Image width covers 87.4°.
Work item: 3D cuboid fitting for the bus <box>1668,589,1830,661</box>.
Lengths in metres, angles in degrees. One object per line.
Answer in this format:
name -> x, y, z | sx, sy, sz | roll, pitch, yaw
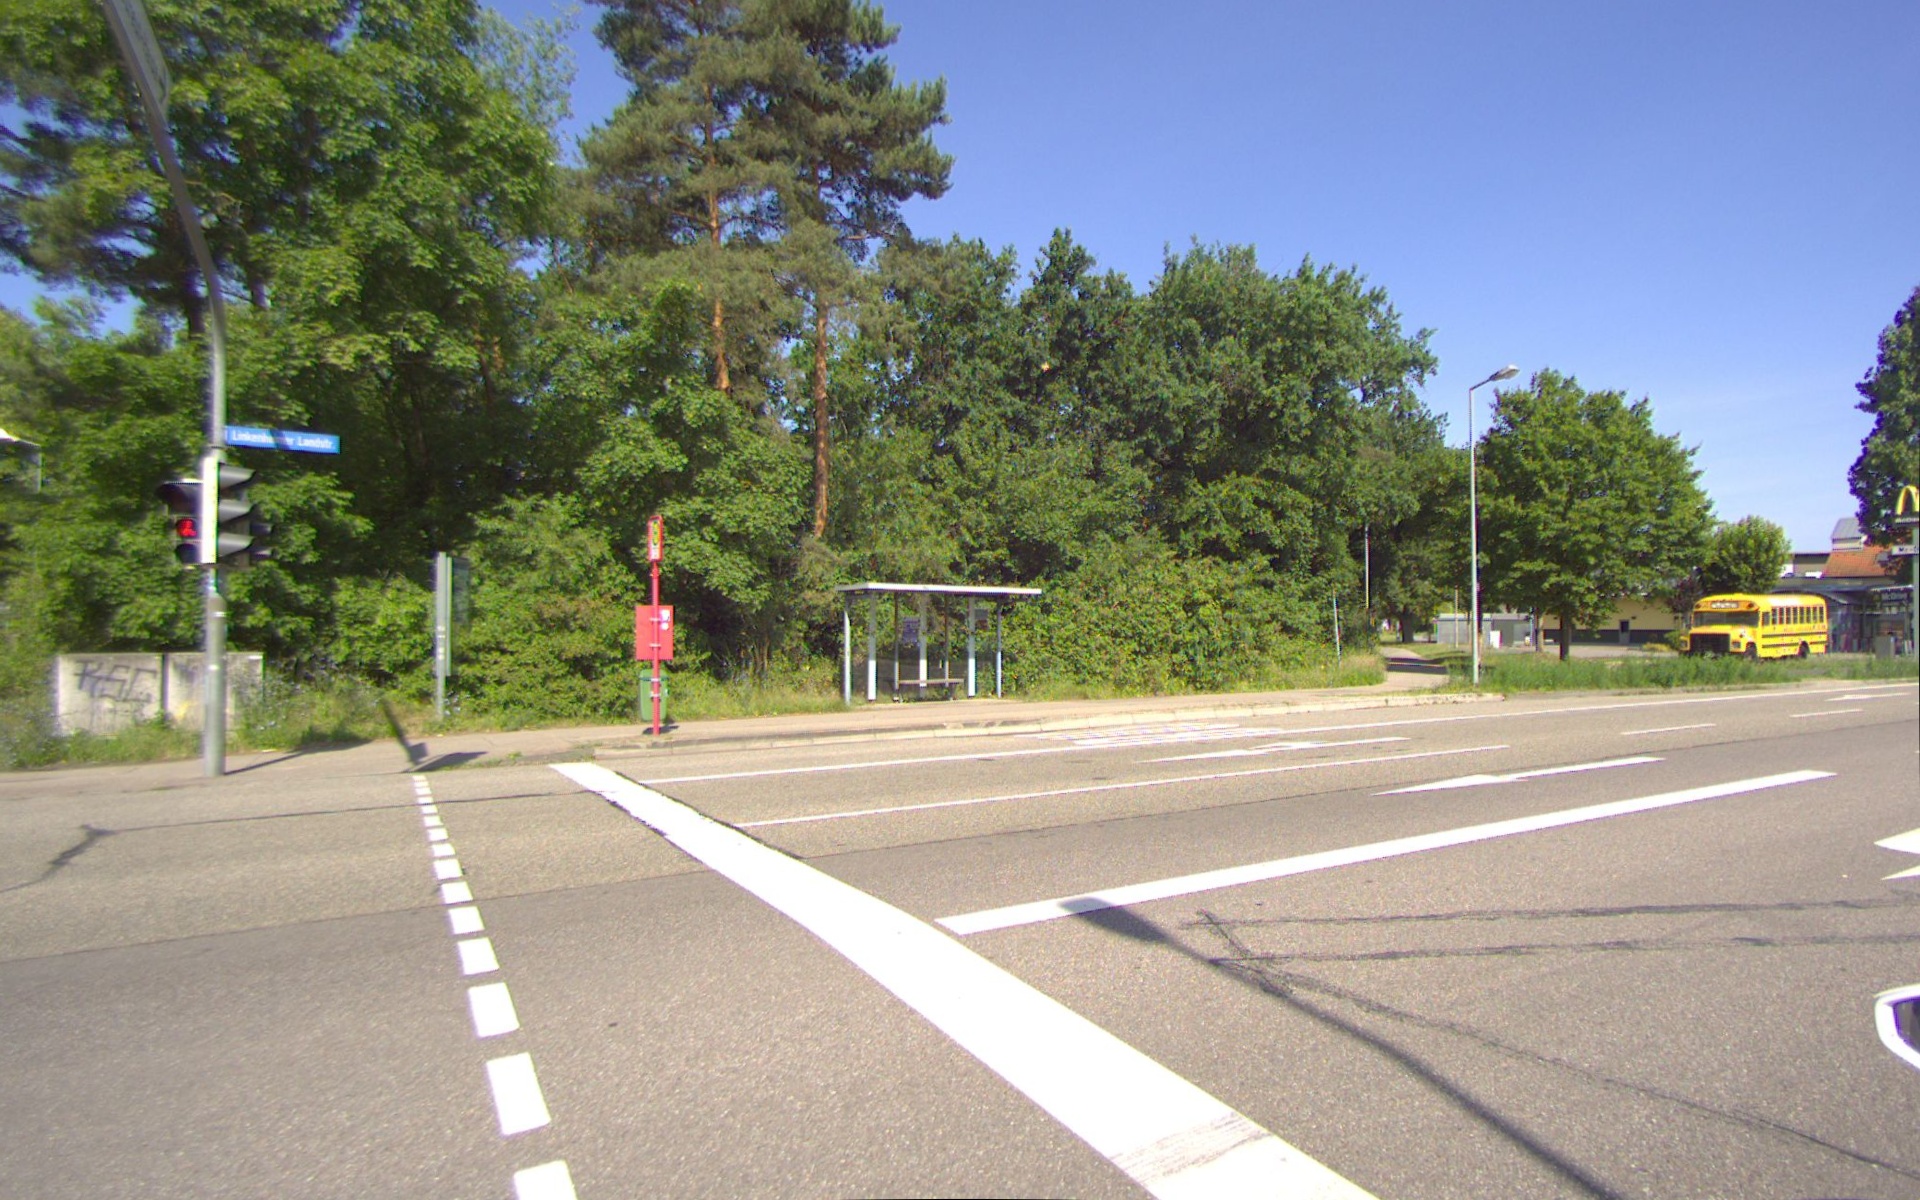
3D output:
bus -> 32.778, 1.041, 41.587 | 8.901, 2.715, 2.564 | 2, 0, -33
